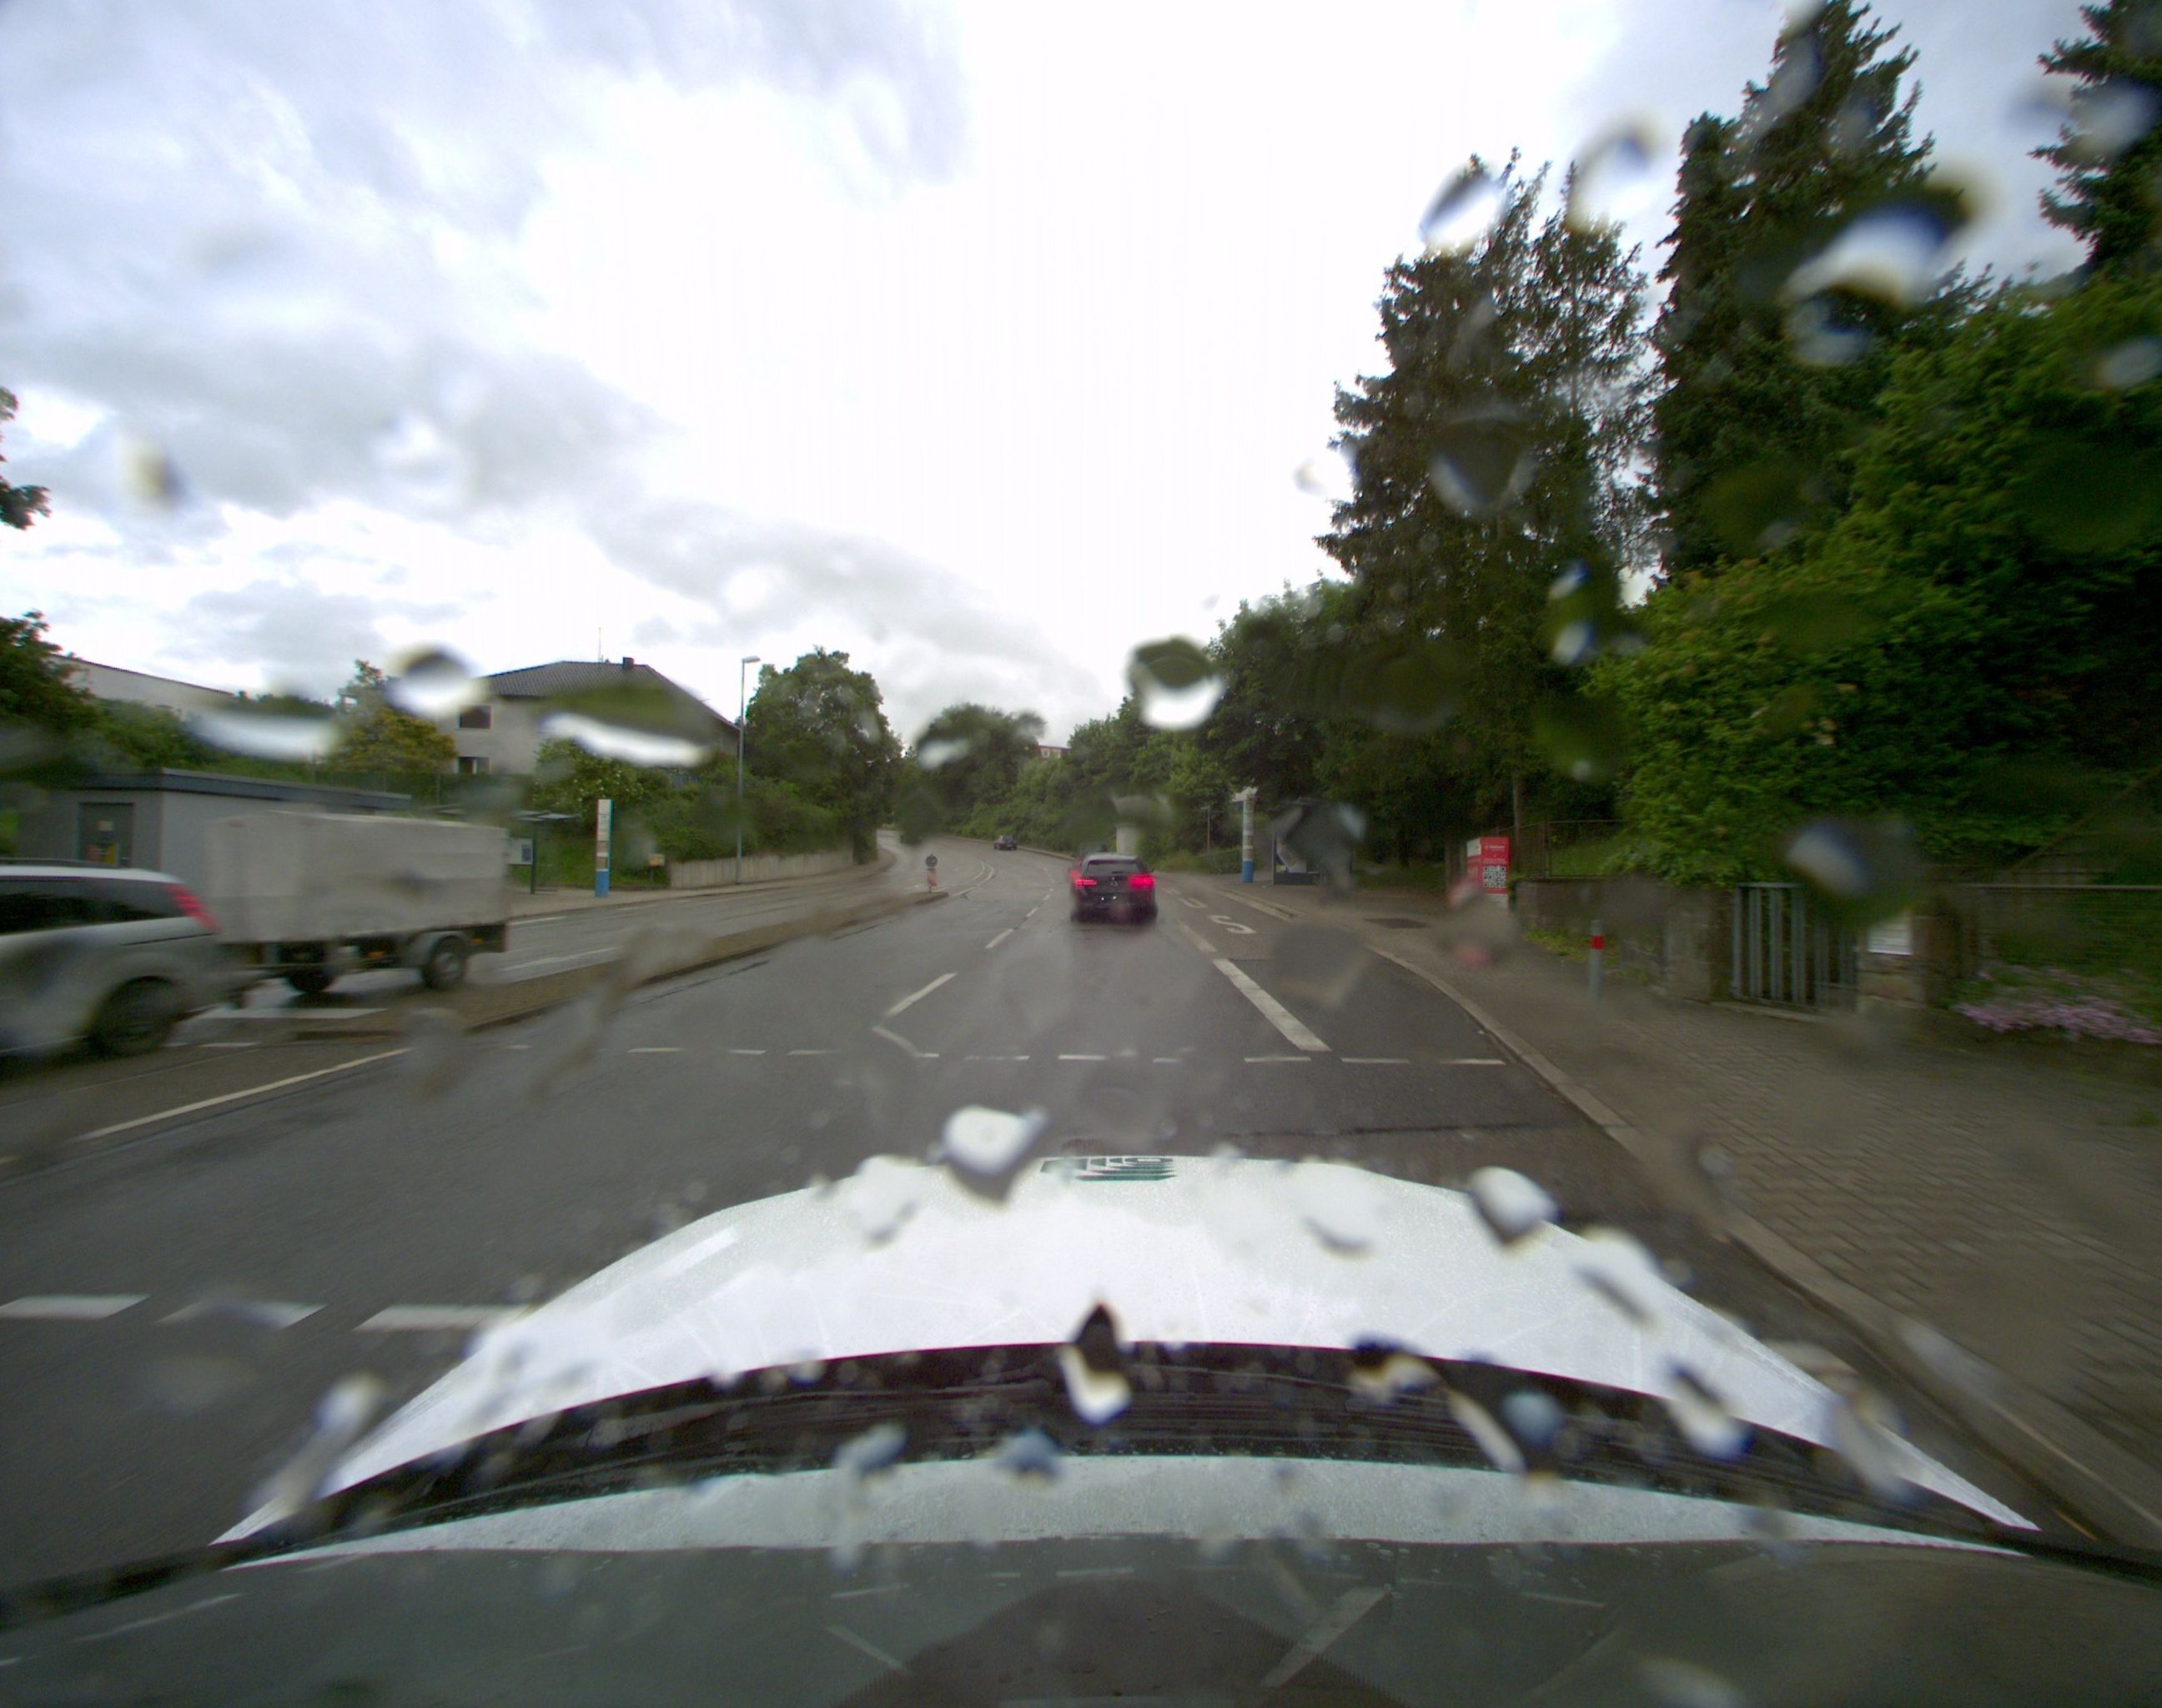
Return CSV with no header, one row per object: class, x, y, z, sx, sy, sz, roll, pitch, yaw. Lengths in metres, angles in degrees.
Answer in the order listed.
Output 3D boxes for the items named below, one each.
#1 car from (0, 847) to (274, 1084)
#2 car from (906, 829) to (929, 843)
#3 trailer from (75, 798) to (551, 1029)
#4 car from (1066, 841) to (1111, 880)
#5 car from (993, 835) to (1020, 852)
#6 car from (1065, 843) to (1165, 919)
car,-8.626,0.803,5.493,1.893,1.683,4.478,-1,0,0
car,-18.578,-2.069,92.558,1.899,1.487,4.204,-1,1,-21
trailer,-8.646,0.593,9.807,1.890,2.179,4.034,-1,-1,-1
car,0.313,0.267,40.752,1.989,1.748,3.996,-1,2,-3
car,-7.596,-1.028,82.625,1.856,1.662,3.976,1,0,-18
car,0.675,0.680,19.394,1.989,1.586,4.657,0,-3,-3
